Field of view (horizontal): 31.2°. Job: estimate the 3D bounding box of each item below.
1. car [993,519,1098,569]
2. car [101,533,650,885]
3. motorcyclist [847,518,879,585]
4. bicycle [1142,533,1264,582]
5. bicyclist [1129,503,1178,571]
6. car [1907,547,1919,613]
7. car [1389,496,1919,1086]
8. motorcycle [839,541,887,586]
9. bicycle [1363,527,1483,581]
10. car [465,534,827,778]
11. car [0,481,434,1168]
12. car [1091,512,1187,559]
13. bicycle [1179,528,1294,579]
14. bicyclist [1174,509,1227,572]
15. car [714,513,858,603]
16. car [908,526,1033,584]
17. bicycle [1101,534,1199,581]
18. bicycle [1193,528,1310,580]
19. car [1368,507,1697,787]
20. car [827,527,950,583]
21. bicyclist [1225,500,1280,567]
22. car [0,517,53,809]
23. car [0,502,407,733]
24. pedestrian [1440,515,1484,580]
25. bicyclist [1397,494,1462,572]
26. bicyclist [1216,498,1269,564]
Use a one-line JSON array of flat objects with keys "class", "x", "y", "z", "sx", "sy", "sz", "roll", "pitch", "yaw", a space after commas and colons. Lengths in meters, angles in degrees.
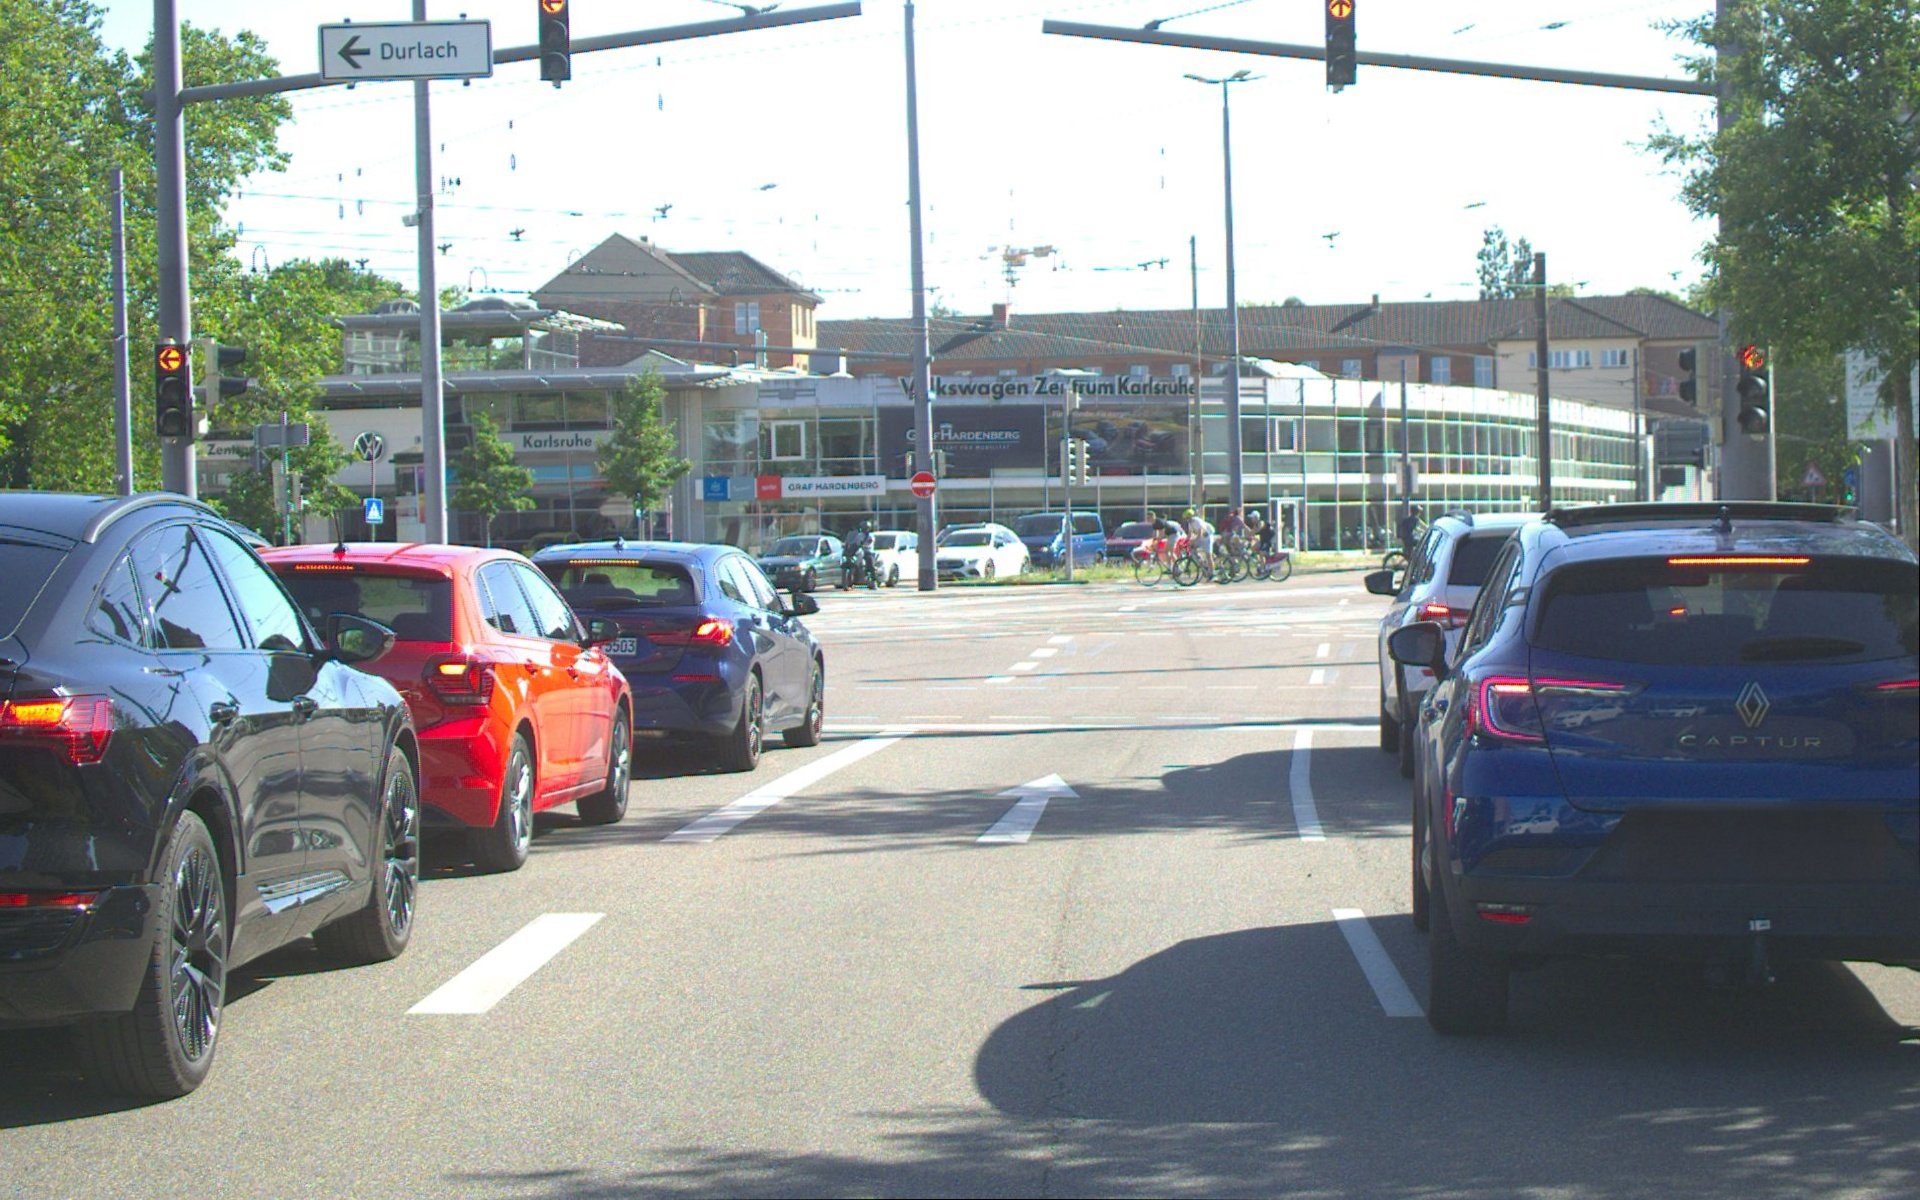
[{"class": "car", "x": 2.575, "y": -1.674, "z": 102.613, "sx": 1.727, "sy": 1.437, "sz": 4.179, "roll": 2, "pitch": 1, "yaw": 23}, {"class": "car", "x": -2.644, "y": 0.423, "z": 16.381, "sx": 1.672, "sy": 1.437, "sz": 3.721, "roll": 1, "pitch": 1, "yaw": 5}, {"class": "motorcyclist", "x": -2.378, "y": -1.193, "z": 84.144, "sx": 0.550, "sy": 1.615, "sz": 0.744, "roll": 0, "pitch": 1, "yaw": 19}, {"class": "bicycle", "x": 5.628, "y": -0.998, "z": 79.804, "sx": 2.642, "sy": 1.091, "sz": 0.969, "roll": -1, "pitch": 1, "yaw": -14}, {"class": "bicyclist", "x": 4.589, "y": -1.503, "z": 81.511, "sx": 0.985, "sy": 1.598, "sz": 0.759, "roll": -1, "pitch": 1, "yaw": -12}, {"class": "car", "x": 23.145, "y": -0.382, "z": 75.239, "sx": 4.358, "sy": 1.437, "sz": 1.731, "roll": 1, "pitch": 1, "yaw": -15}, {"class": "car", "x": 2.406, "y": 0.494, "z": 11.413, "sx": 1.877, "sy": 1.612, "sz": 3.796, "roll": 1, "pitch": 1, "yaw": 8}, {"class": "motorcycle", "x": -2.361, "y": -0.900, "z": 84.199, "sx": 0.562, "sy": 1.090, "sz": 1.834, "roll": 0, "pitch": 1, "yaw": 19}, {"class": "bicycle", "x": 10.791, "y": -1.076, "z": 80.122, "sx": 2.645, "sy": 1.184, "sz": 0.948, "roll": -1, "pitch": 3, "yaw": -21}, {"class": "car", "x": -1.990, "y": 0.306, "z": 22.853, "sx": 1.725, "sy": 1.437, "sz": 3.798, "roll": 1, "pitch": 1, "yaw": 5}, {"class": "car", "x": -2.924, "y": 0.482, "z": 10.298, "sx": 1.984, "sy": 1.618, "sz": 4.378, "roll": 0, "pitch": 1, "yaw": 1}, {"class": "car", "x": 5.705, "y": -2.044, "z": 109.168, "sx": 1.727, "sy": 1.437, "sz": 4.179, "roll": 2, "pitch": 1, "yaw": 23}, {"class": "bicycle", "x": 6.787, "y": -1.155, "z": 84.417, "sx": 2.645, "sy": 1.184, "sz": 0.948, "roll": -1, "pitch": 3, "yaw": -13}, {"class": "bicyclist", "x": 5.574, "y": -1.386, "z": 79.787, "sx": 0.961, "sy": 1.444, "sz": 0.969, "roll": -1, "pitch": 1, "yaw": -15}, {"class": "car", "x": -4.266, "y": -1.065, "z": 84.803, "sx": 1.996, "sy": 2.006, "sz": 3.996, "roll": 1, "pitch": 4, "yaw": 23}, {"class": "car", "x": 0.301, "y": -1.181, "z": 88.451, "sx": 1.727, "sy": 1.437, "sz": 4.179, "roll": 0, "pitch": 1, "yaw": 23}, {"class": "bicycle", "x": 4.501, "y": -1.006, "z": 81.495, "sx": 2.177, "sy": 1.091, "sz": 0.759, "roll": -1, "pitch": 1, "yaw": -12}, {"class": "bicycle", "x": 6.994, "y": -1.113, "z": 82.589, "sx": 2.645, "sy": 1.184, "sz": 0.948, "roll": -1, "pitch": 3, "yaw": -13}, {"class": "car", "x": 3.567, "y": 0.244, "z": 21.973, "sx": 1.877, "sy": 1.612, "sz": 3.624, "roll": 1, "pitch": 1, "yaw": 7}, {"class": "car", "x": -1.863, "y": -1.201, "z": 91.157, "sx": 1.727, "sy": 1.437, "sz": 4.179, "roll": 0, "pitch": 1, "yaw": 23}, {"class": "bicyclist", "x": 7.026, "y": -1.604, "z": 82.572, "sx": 1.062, "sy": 1.578, "sz": 0.948, "roll": -1, "pitch": 3, "yaw": -13}, {"class": "car", "x": -5.679, "y": 0.361, "z": 15.963, "sx": 1.725, "sy": 1.437, "sz": 3.799, "roll": 0, "pitch": 2, "yaw": 3}, {"class": "car", "x": -5.284, "y": 0.070, "z": 23.887, "sx": 1.725, "sy": 1.437, "sz": 3.909, "roll": 2, "pitch": 1, "yaw": 8}, {"class": "pedestrian", "x": 12.766, "y": -1.340, "z": 87.450, "sx": 0.849, "sy": 1.605, "sz": 0.703, "roll": -3, "pitch": 4, "yaw": -37}, {"class": "bicyclist", "x": 10.941, "y": -1.569, "z": 80.152, "sx": 1.183, "sy": 1.770, "sz": 0.948, "roll": -1, "pitch": 3, "yaw": -20}, {"class": "bicyclist", "x": 6.928, "y": -1.703, "z": 84.427, "sx": 1.062, "sy": 1.578, "sz": 0.948, "roll": -1, "pitch": 3, "yaw": -13}]
